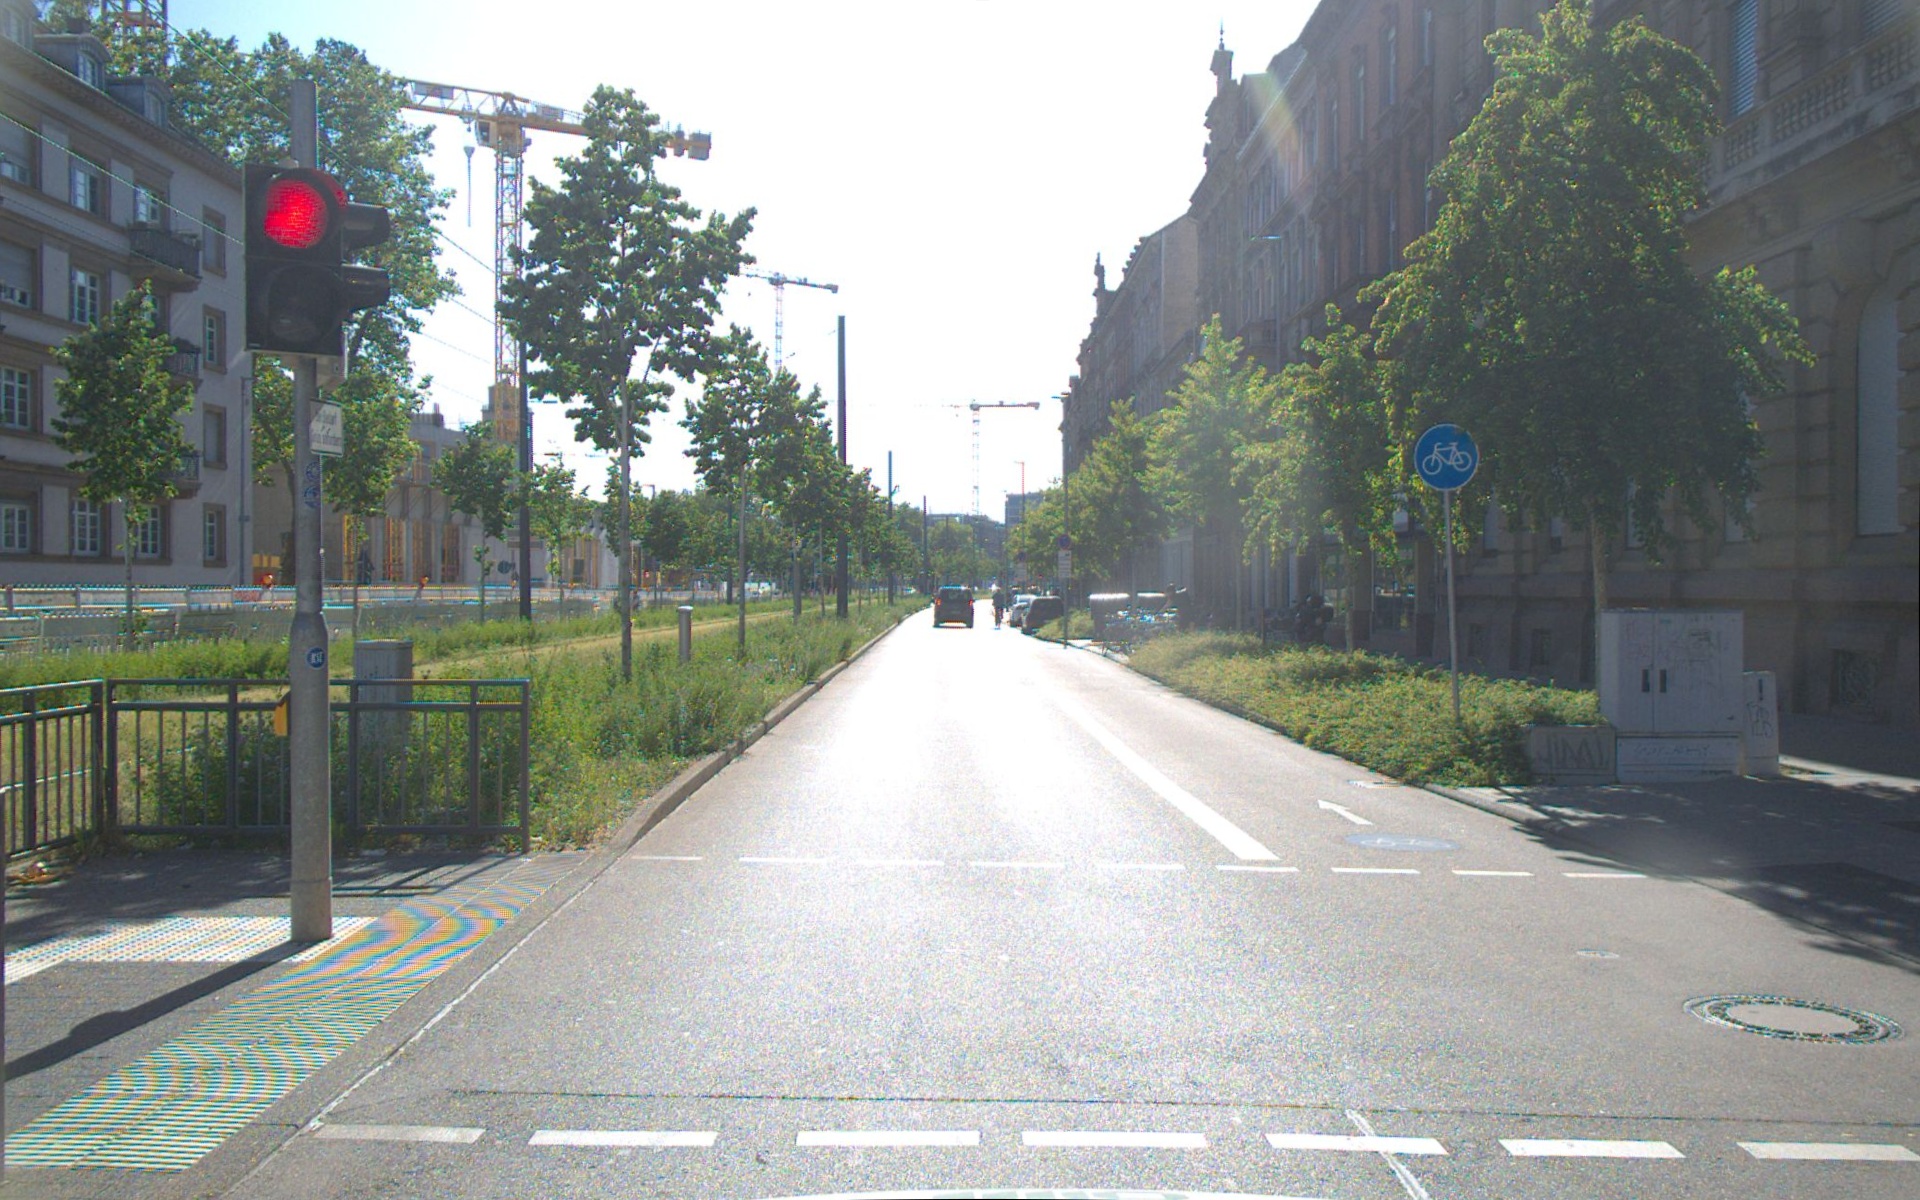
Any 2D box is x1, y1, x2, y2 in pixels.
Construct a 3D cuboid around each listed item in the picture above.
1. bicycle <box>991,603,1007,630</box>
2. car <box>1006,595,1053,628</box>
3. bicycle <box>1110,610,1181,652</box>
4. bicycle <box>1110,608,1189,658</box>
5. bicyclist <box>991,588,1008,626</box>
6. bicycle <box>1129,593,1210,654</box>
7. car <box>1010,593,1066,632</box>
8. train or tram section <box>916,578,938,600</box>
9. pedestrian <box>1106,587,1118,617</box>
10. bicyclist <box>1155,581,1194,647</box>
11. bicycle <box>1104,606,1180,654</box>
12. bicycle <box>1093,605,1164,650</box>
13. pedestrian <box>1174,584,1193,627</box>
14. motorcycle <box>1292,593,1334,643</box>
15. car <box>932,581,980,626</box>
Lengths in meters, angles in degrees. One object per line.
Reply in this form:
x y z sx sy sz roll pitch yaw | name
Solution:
1.749 0.735 74.562 0.589 1.201 1.869 2 0 -1 | bicycle
3.342 0.526 79.813 1.987 1.525 4.529 0 0 -1 | car
4.774 0.790 42.636 1.756 1.048 0.527 0 0 -1 | bicycle
4.537 0.783 39.623 1.756 1.048 0.527 -4 0 -1 | bicycle
1.765 0.321 74.770 0.670 1.702 0.922 2 0 -2 | bicyclist
5.217 0.583 41.184 1.855 1.353 0.617 -4 0 0 | bicycle
3.124 0.488 67.376 1.987 1.525 4.653 0 0 -1 | car
-4.319 -1.427 219.152 2.699 2.790 9.863 1 0 0 | train or tram section
8.462 0.092 92.173 0.601 1.640 0.669 0 0 -1 | pedestrian
5.335 0.346 41.169 0.782 1.556 0.662 -4 0 0 | bicyclist
4.508 0.733 40.997 1.756 1.048 0.527 -4 0 -1 | bicycle
4.473 0.720 43.976 1.756 1.048 0.527 -4 0 -1 | bicycle
8.614 0.214 63.761 0.601 1.640 0.669 0 0 -1 | pedestrian
9.437 0.457 44.291 0.686 1.289 1.981 0 0 -1 | motorcycle
-0.207 0.145 76.390 2.155 1.960 4.653 0 0 -1 | car
